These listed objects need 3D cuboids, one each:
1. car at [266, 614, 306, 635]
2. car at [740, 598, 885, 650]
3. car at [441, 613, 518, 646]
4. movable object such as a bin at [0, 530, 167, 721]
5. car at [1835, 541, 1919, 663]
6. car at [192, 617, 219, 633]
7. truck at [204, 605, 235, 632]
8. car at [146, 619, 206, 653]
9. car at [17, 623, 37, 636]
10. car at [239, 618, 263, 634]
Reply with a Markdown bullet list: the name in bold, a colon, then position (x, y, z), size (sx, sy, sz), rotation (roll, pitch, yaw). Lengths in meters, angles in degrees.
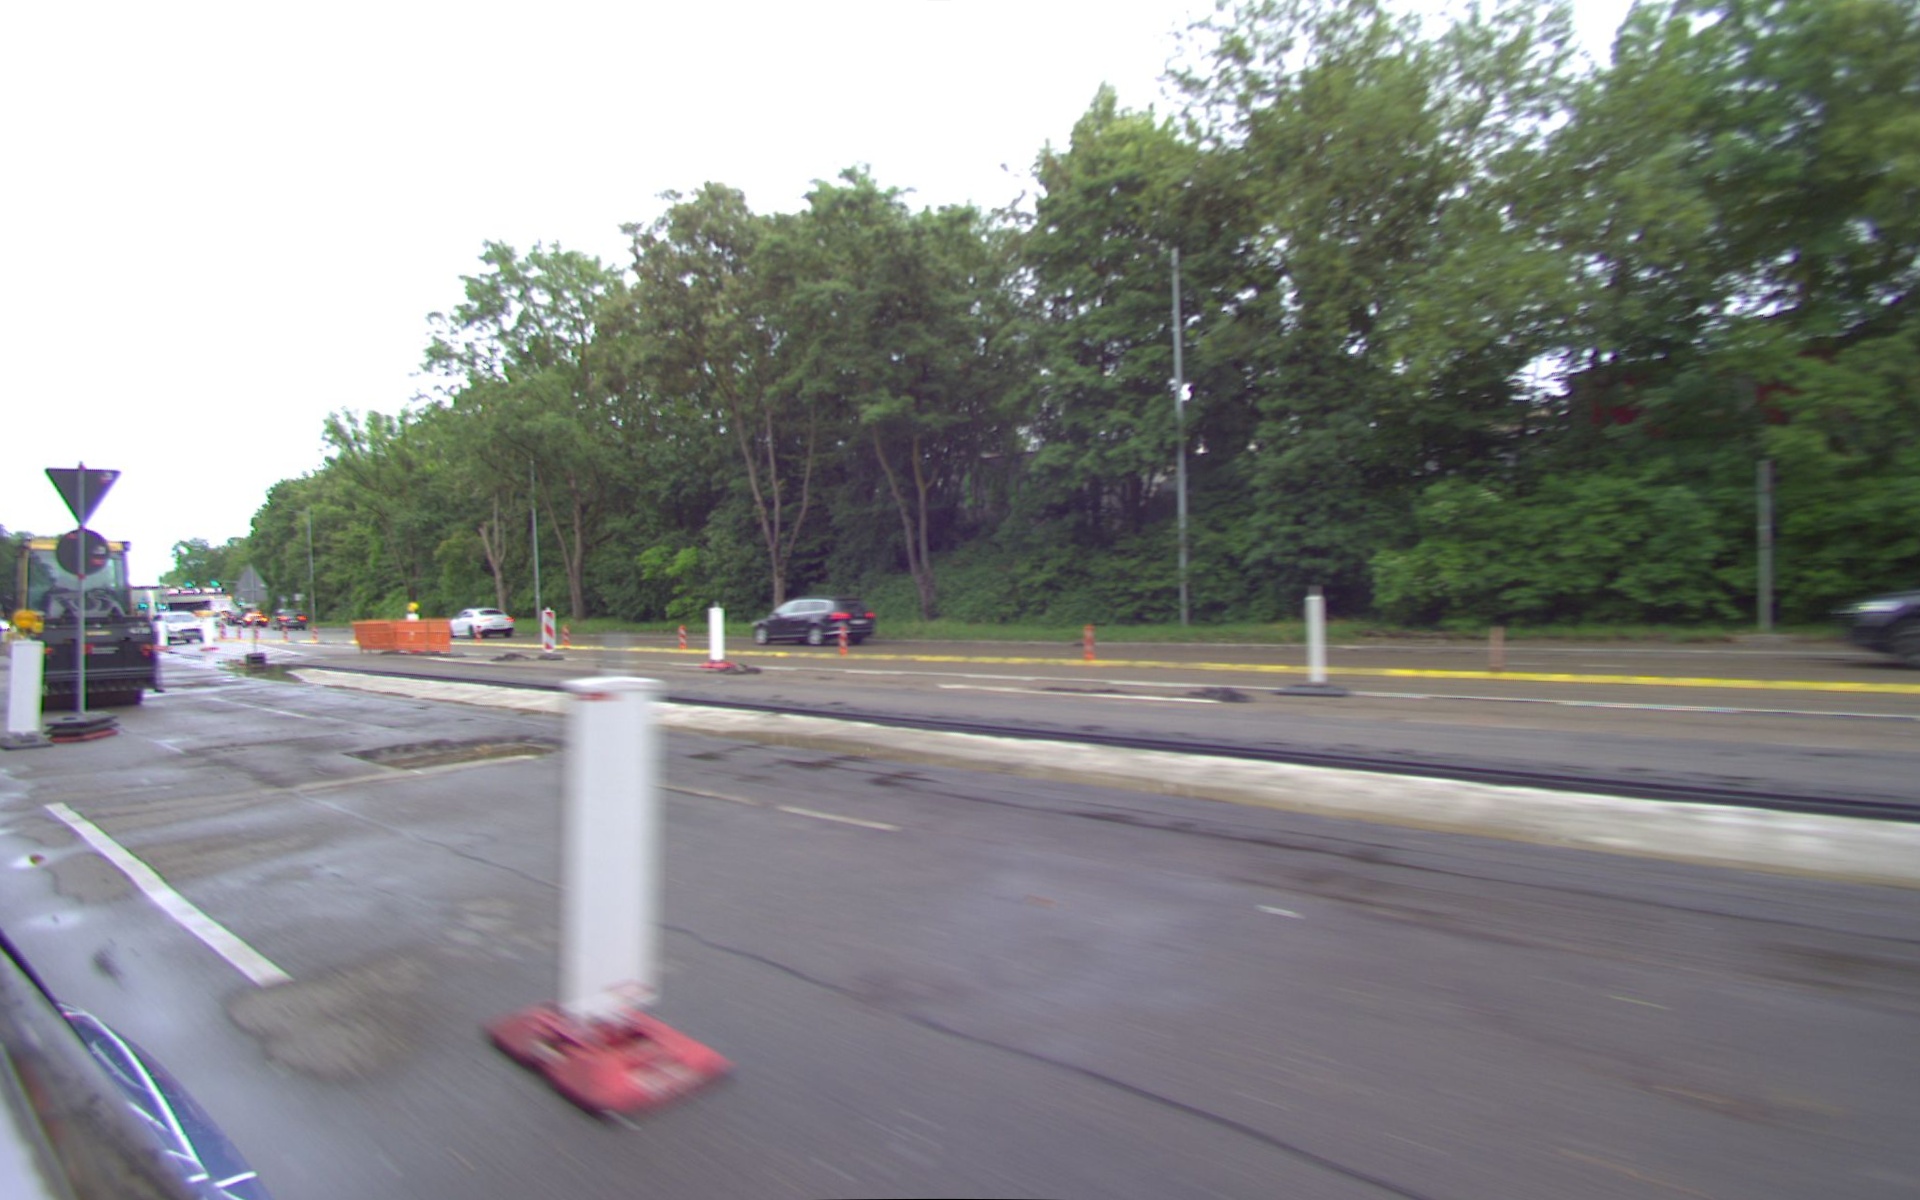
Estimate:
- **car**: position (-54.944, 1.991, 82.462), size (4.766, 1.626, 1.656), rotation (-2, -1, 43)
- **car**: position (-4.614, 0.742, 31.233), size (4.678, 1.463, 1.766), rotation (-2, 0, 40)
- **car**: position (-22.958, 1.388, 48.272), size (4.468, 1.437, 1.765), rotation (-2, 0, 42)
- **movable object such as a bin**: position (-16.041, 0.426, 18.340), size (5.245, 3.008, 1.784), rotation (-1, 0, 43)
- **car**: position (15.056, -0.005, 13.561), size (4.909, 1.676, 1.759), rotation (-2, -1, 39)
- **car**: position (-77.252, 2.567, 103.612), size (1.655, 1.626, 3.772), rotation (0, -1, -44)
- **truck**: position (-112.392, 2.723, 153.496), size (3.104, 3.860, 9.661), rotation (-1, 0, -40)
- **car**: position (-39.875, 1.800, 51.421), size (3.861, 1.596, 1.770), rotation (-1, 1, 43)
- **car**: position (-112.031, 3.494, 121.530), size (1.686, 1.453, 4.237), rotation (-1, 0, -41)
- **car**: position (-69.826, 2.542, 99.663), size (1.601, 1.495, 3.612), rotation (0, -1, -42)
